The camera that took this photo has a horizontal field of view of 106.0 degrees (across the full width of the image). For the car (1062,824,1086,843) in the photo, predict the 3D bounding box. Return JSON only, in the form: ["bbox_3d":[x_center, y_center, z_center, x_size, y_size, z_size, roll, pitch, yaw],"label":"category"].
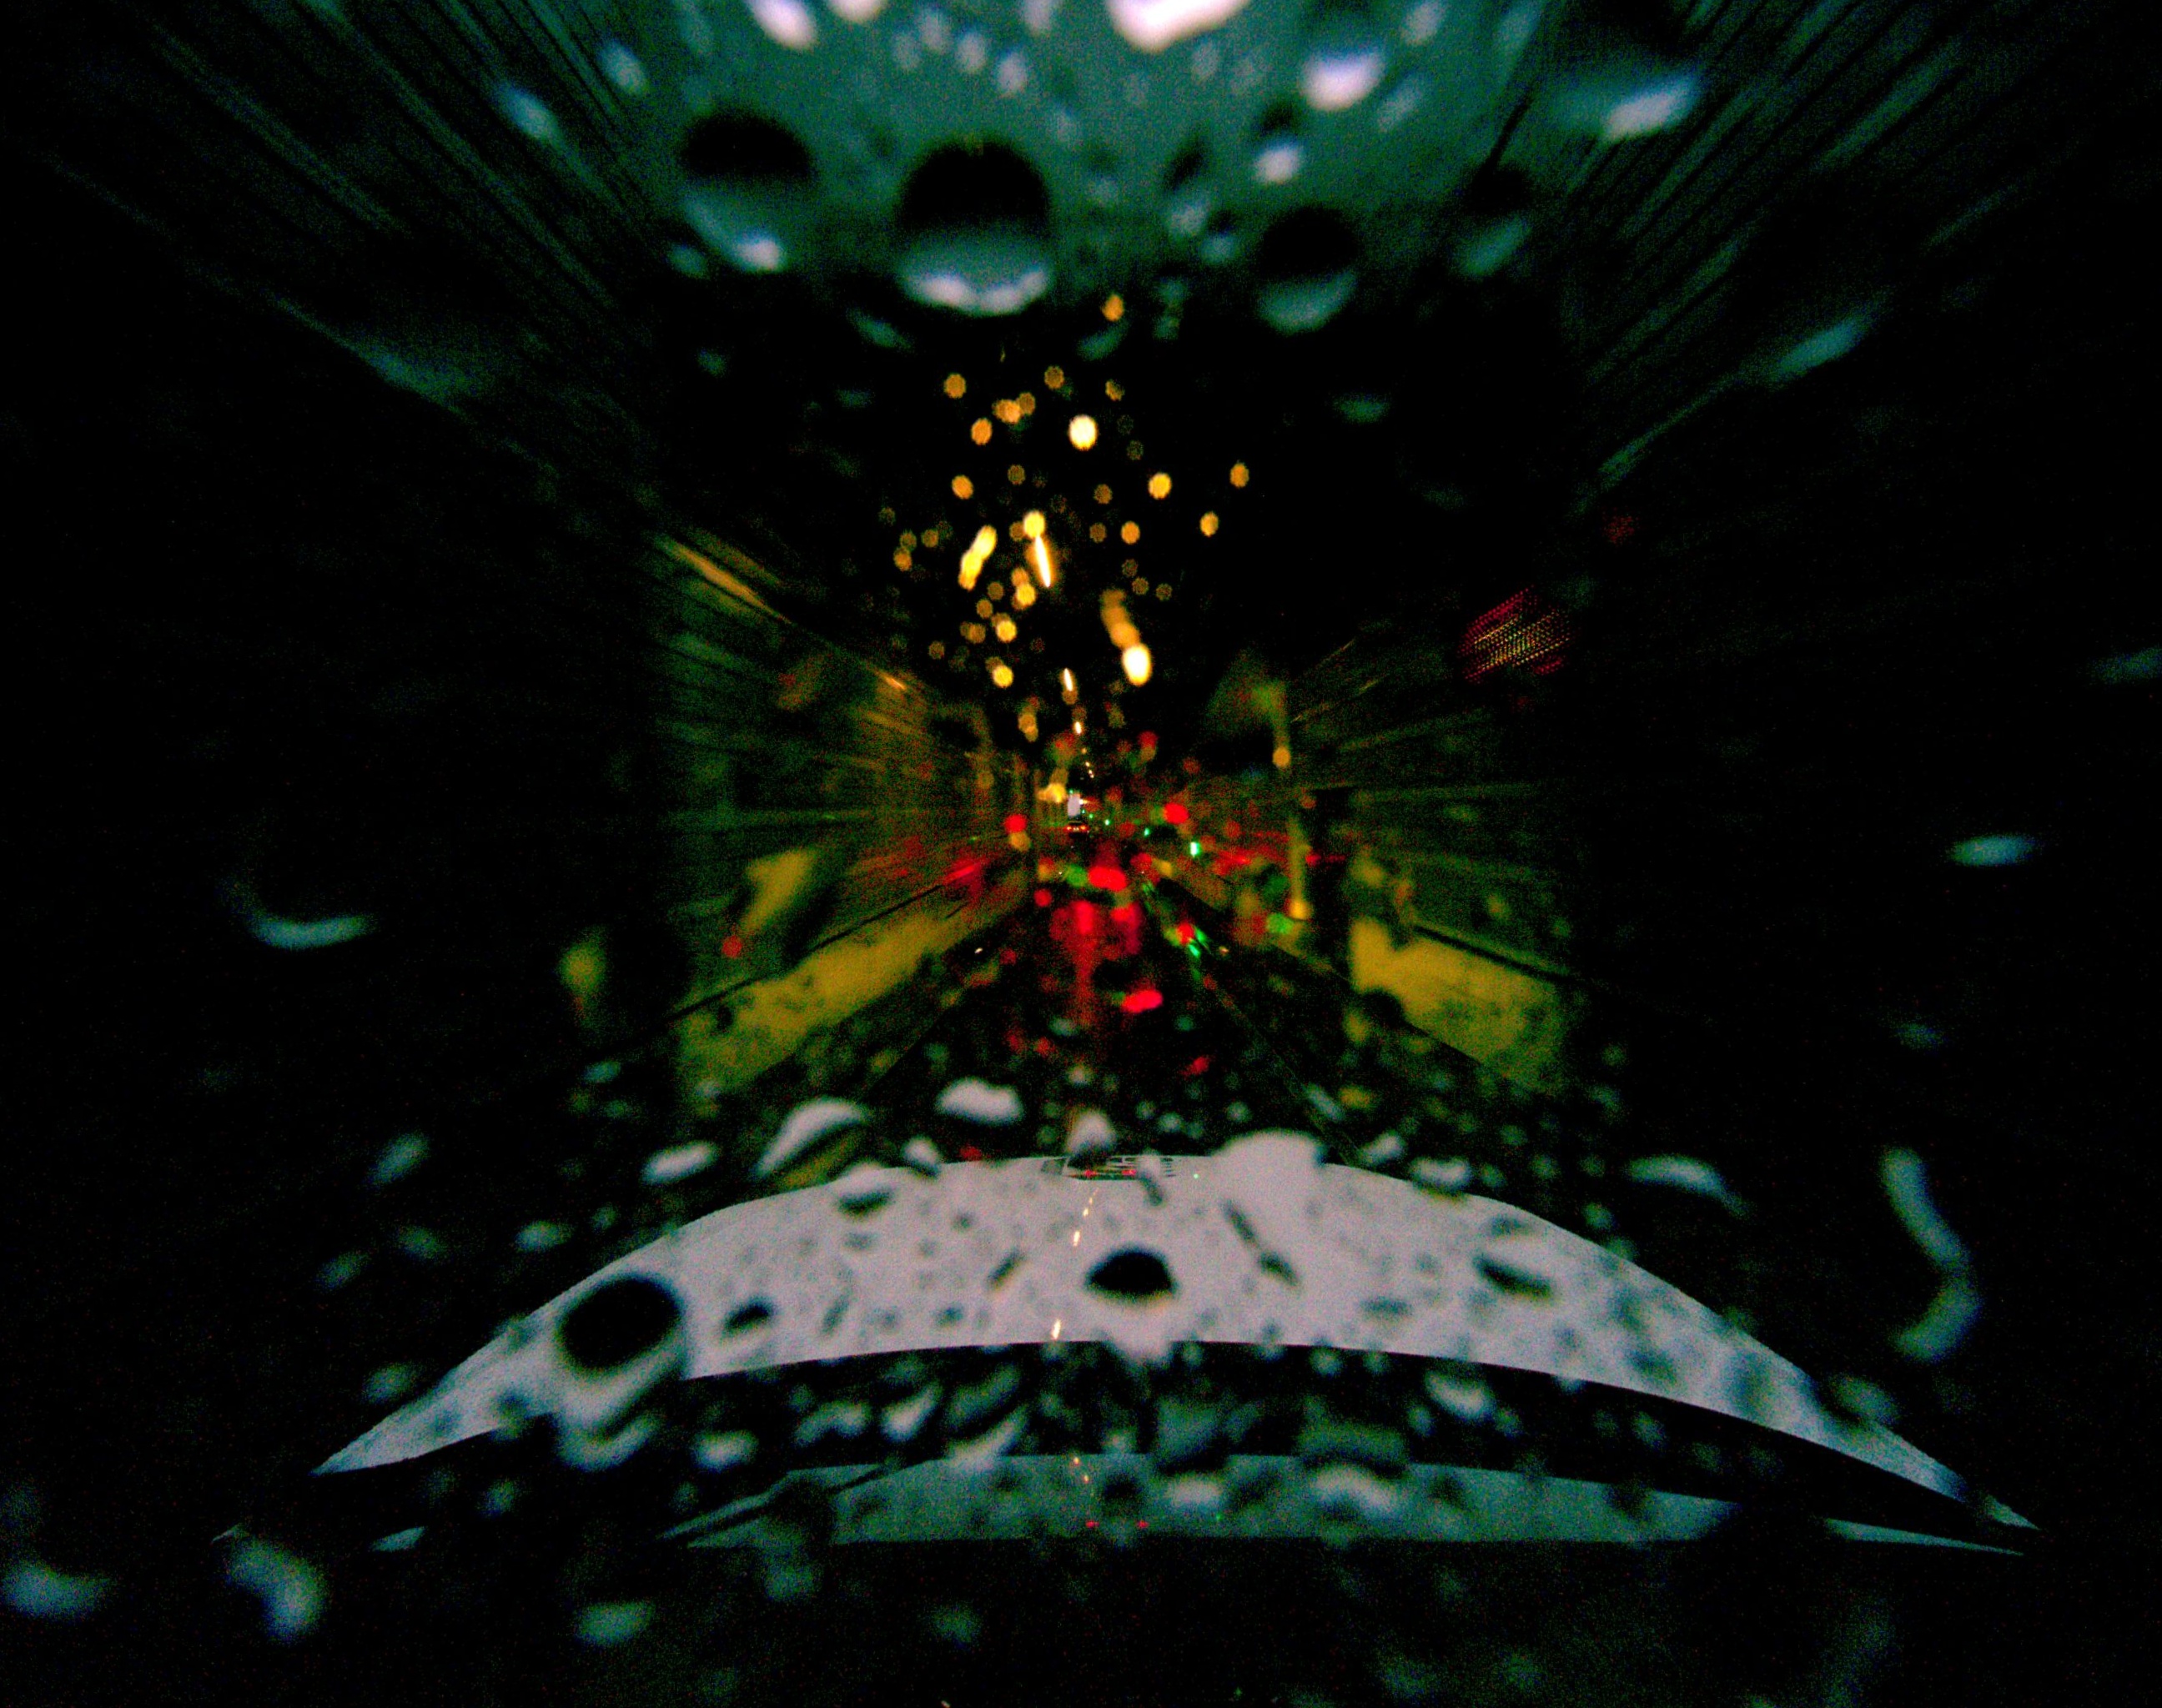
[{"bbox_3d":[-0.646,-1.863,73.849,1.877,1.620,3.995,-1,2,-4],"label":"car"}]

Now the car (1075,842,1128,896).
[{"bbox_3d":[0.645,0.410,25.479,1.526,1.397,3.436,-1,3,1],"label":"car"}]
